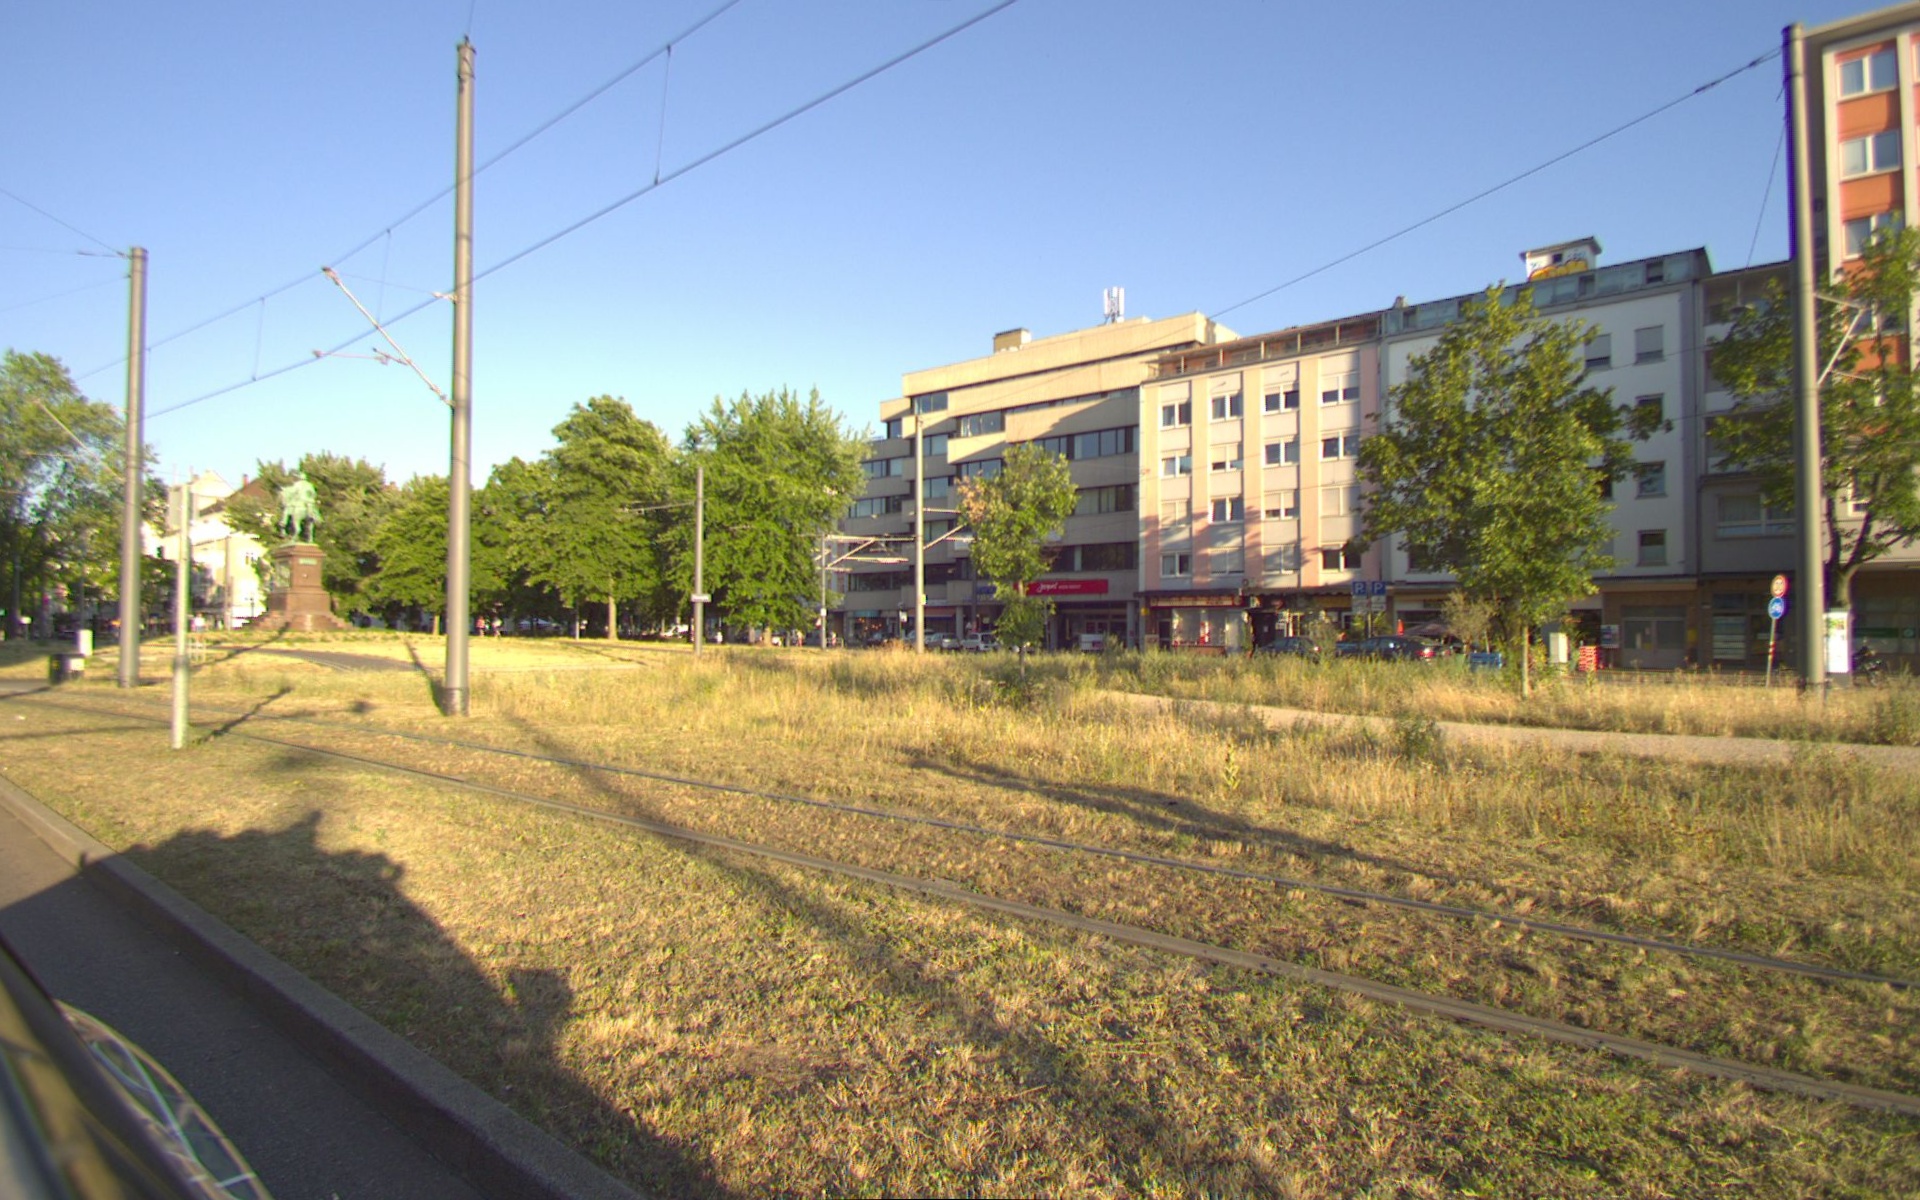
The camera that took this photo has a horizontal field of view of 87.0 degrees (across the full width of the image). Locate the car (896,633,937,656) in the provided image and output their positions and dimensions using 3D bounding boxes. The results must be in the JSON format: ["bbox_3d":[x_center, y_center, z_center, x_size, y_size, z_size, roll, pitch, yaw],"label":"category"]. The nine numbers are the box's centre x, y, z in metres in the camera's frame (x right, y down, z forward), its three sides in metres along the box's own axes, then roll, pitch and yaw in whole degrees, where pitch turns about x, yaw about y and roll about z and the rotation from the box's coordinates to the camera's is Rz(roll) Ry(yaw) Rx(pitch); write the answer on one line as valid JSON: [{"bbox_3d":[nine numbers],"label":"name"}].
[{"bbox_3d":[-3.573,3.618,82.053,1.729,1.808,4.222,0,-3,-27],"label":"car"}]

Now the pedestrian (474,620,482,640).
[{"bbox_3d":[-38.364,2.387,80.560,0.553,1.524,0.448,-4,-4,42],"label":"pedestrian"}]

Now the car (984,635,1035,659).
[{"bbox_3d":[3.245,3.111,66.730,1.729,1.564,4.013,0,-3,-24],"label":"car"}]

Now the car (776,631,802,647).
[{"bbox_3d":[-19.432,4.424,115.001,1.729,1.676,4.012,0,-3,-27],"label":"car"}]

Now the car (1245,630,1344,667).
[{"bbox_3d":[14.525,2.124,44.179,1.729,1.538,4.012,0,-3,-27],"label":"car"}]

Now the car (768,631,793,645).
[{"bbox_3d":[-19.531,4.099,109.915,1.681,1.401,4.013,0,-3,-25],"label":"car"}]

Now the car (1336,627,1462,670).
[{"bbox_3d":[16.904,1.882,39.219,1.729,1.538,4.305,0,-3,-27],"label":"car"}]

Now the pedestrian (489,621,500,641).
[{"bbox_3d":[-37.298,2.458,81.052,0.553,1.593,0.611,-4,-4,42],"label":"pedestrian"}]

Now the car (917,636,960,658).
[{"bbox_3d":[-1.672,3.586,76.760,1.729,1.564,4.012,0,-3,-27],"label":"car"}]

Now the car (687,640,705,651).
[{"bbox_3d":[-39.633,6.858,151.756,1.833,1.569,4.081,0,-3,-27],"label":"car"}]

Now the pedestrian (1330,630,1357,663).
[{"bbox_3d":[17.961,2.169,47.356,0.852,1.540,1.107,-3,-4,38],"label":"pedestrian"}]

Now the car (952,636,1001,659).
[{"bbox_3d":[1.146,3.375,71.379,1.729,1.564,4.012,0,-3,-27],"label":"car"}]

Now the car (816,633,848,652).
[{"bbox_3d":[-12.895,4.294,101.672,1.906,1.808,4.222,0,-3,-27],"label":"car"}]

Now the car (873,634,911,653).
[{"bbox_3d":[-5.969,3.779,87.925,1.833,1.569,4.081,0,-3,-27],"label":"car"}]

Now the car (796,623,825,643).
[{"bbox_3d":[-15.896,3.497,107.437,1.729,1.959,4.222,1,-3,-27],"label":"car"}]

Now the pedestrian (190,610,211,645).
[{"bbox_3d":[-37.510,1.369,49.974,0.831,1.703,0.472,-2,-3,26],"label":"pedestrian"}]

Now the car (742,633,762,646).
[{"bbox_3d":[-27.023,5.152,131.212,1.766,1.592,4.013,0,-3,-23],"label":"car"}]
